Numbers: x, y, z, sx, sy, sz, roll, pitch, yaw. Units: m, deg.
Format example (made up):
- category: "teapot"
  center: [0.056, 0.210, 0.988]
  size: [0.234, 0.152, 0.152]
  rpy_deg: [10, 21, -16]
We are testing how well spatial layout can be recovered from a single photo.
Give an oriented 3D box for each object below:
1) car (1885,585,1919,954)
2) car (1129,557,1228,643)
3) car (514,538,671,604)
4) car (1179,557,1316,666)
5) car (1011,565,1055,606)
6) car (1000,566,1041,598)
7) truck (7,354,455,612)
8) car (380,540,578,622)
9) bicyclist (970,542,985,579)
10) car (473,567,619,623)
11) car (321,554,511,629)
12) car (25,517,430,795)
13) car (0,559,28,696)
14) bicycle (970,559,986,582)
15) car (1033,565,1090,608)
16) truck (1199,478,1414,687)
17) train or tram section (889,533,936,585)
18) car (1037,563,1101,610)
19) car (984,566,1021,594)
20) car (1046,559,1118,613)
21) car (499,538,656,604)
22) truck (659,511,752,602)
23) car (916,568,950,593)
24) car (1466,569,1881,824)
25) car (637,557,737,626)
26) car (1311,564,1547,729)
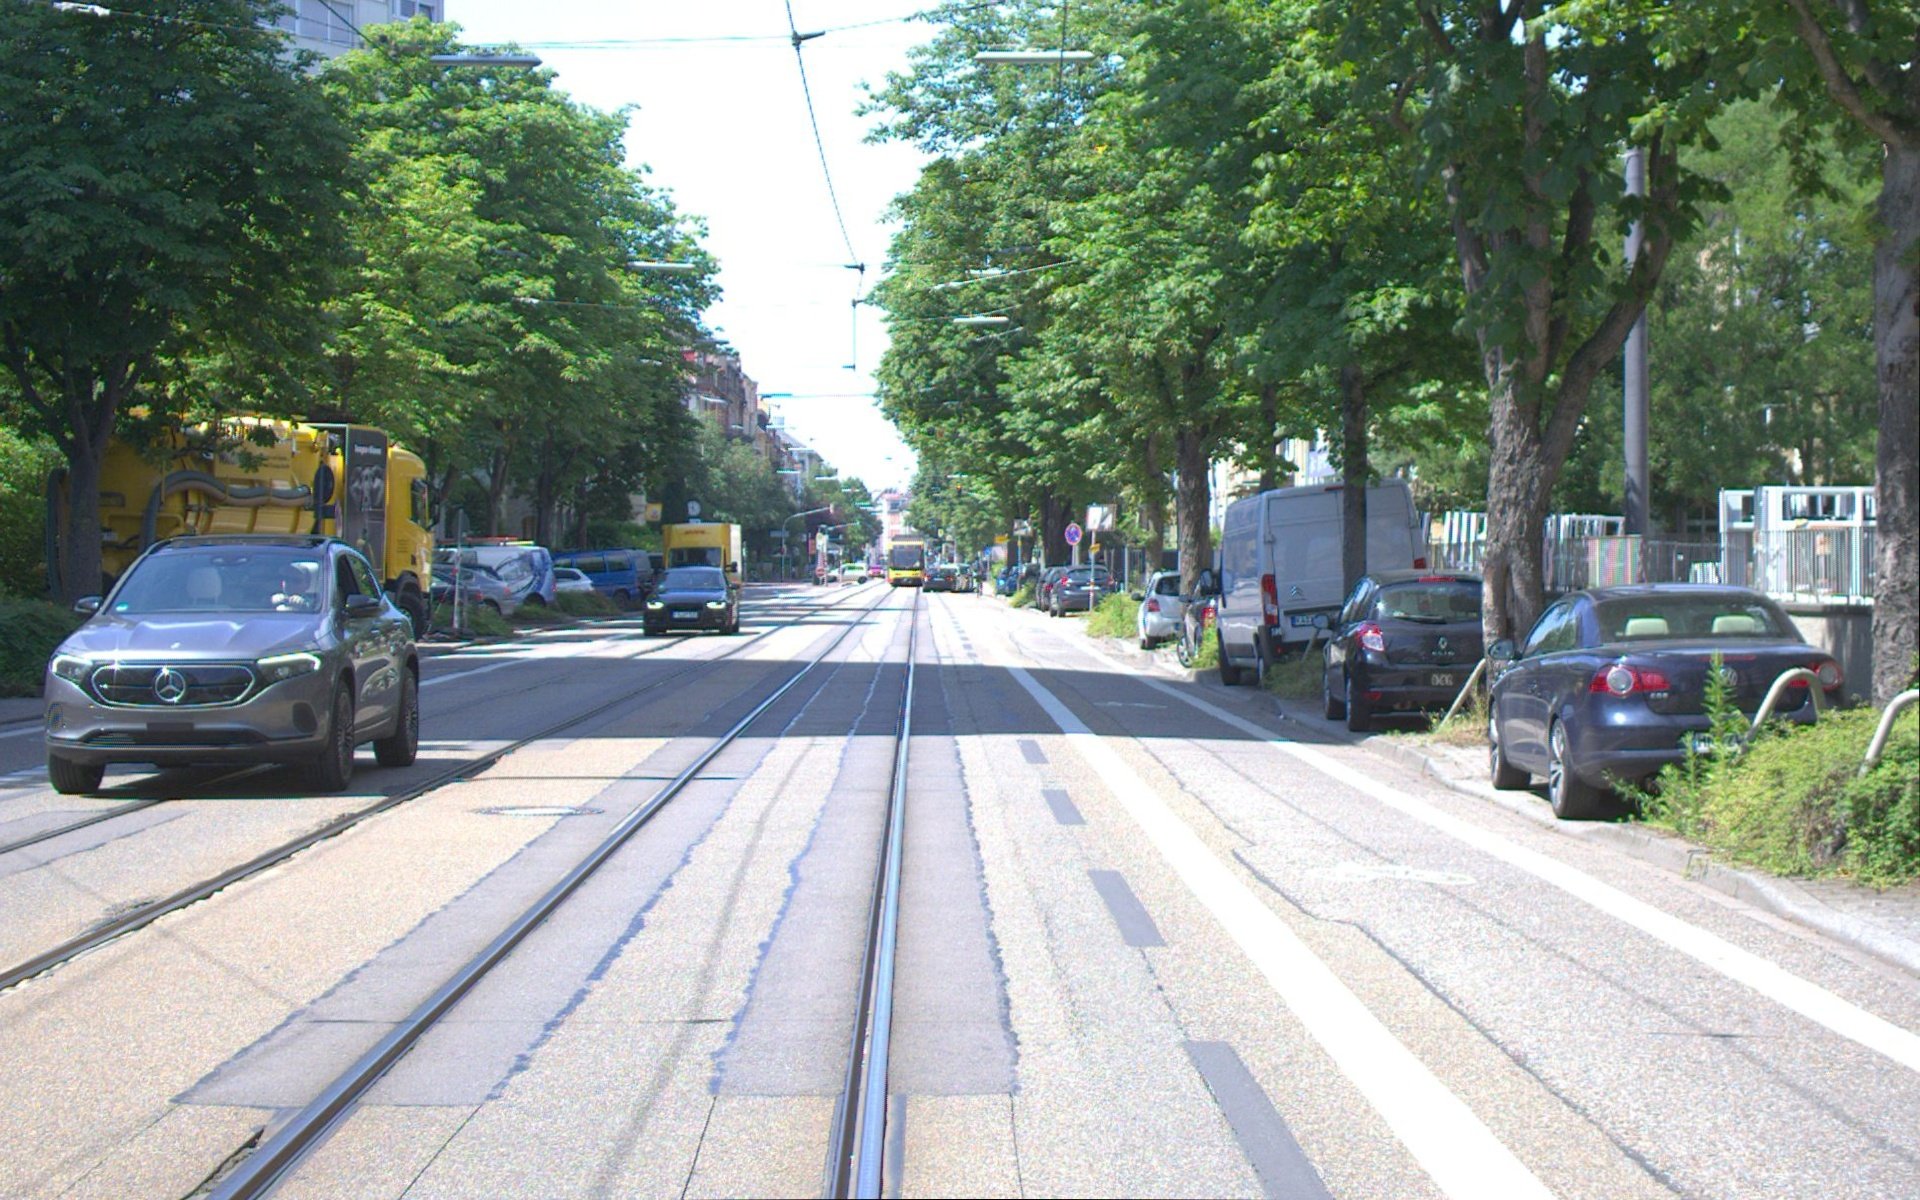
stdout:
- category: "car"
  center: [4.610, 0.688, 11.822]
  size: [1.671, 1.433, 4.042]
  rpy_deg: [0, 1, -2]
- category: "car"
  center: [4.030, -0.026, 63.751]
  size: [1.644, 1.529, 3.785]
  rpy_deg: [0, 1, 1]
- category: "car"
  center: [-12.028, -0.967, 112.695]
  size: [4.748, 2.055, 2.026]
  rpy_deg: [-2, 1, -39]
- category: "car"
  center: [4.228, 0.140, 51.025]
  size: [1.644, 1.529, 3.947]
  rpy_deg: [0, 1, -1]
- category: "car"
  center: [2.932, -0.584, 138.397]
  size: [1.592, 1.611, 3.908]
  rpy_deg: [-1, 0, -1]
- category: "car"
  center: [2.761, -0.834, 157.631]
  size: [1.710, 1.418, 4.310]
  rpy_deg: [-1, 0, -1]
- category: "truck"
  center: [-11.765, -1.755, 57.008]
  size: [2.717, 3.828, 10.957]
  rpy_deg: [2, 0, 14]
- category: "car"
  center: [-12.079, -0.492, 86.562]
  size: [1.920, 1.928, 4.745]
  rpy_deg: [-1, 0, 42]
- category: "bicyclist"
  center: [0.780, -1.773, 155.134]
  size: [0.622, 1.610, 0.865]
  rpy_deg: [1, -1, -2]
- category: "car"
  center: [-12.010, -0.155, 99.949]
  size: [1.761, 1.428, 3.990]
  rpy_deg: [-3, 0, 42]
- category: "car"
  center: [-11.591, -0.187, 73.380]
  size: [1.761, 1.502, 3.700]
  rpy_deg: [-1, 1, 43]
- category: "car"
  center: [-4.754, 0.305, 22.888]
  size: [1.831, 1.675, 4.185]
  rpy_deg: [0, 1, 0]
- category: "car"
  center: [-11.810, 0.238, 34.406]
  size: [4.434, 1.390, 1.772]
  rpy_deg: [1, 1, -39]
- category: "bicycle"
  center: [0.794, -1.329, 155.056]
  size: [0.639, 0.966, 1.781]
  rpy_deg: [2, -1, -2]
- category: "car"
  center: [3.435, -0.443, 116.397]
  size: [1.710, 1.418, 4.244]
  rpy_deg: [-1, 0, -1]
- category: "truck"
  center: [4.328, -0.255, 43.833]
  size: [2.014, 2.480, 5.956]
  rpy_deg: [0, 1, -1]
- category: "train or tram section"
  center: [-3.176, -2.757, 232.773]
  size: [3.035, 3.427, 11.970]
  rpy_deg: [0, 1, 0]
- category: "car"
  center: [3.463, -0.441, 109.649]
  size: [1.876, 1.450, 4.528]
  rpy_deg: [-1, 0, 0]
- category: "car"
  center: [2.162, -1.014, 175.978]
  size: [1.710, 1.418, 4.310]
  rpy_deg: [-1, 0, -1]
- category: "car"
  center: [3.441, -0.402, 97.218]
  size: [1.639, 1.480, 3.873]
  rpy_deg: [-1, 0, -4]
- category: "car"
  center: [-11.828, -0.912, 106.508]
  size: [1.846, 1.949, 4.719]
  rpy_deg: [-1, 1, 44]
- category: "truck"
  center: [-8.308, -1.435, 112.946]
  size: [2.360, 2.843, 7.378]
  rpy_deg: [-1, 1, 1]
- category: "car"
  center: [-1.441, -1.062, 183.640]
  size: [1.781, 1.341, 3.416]
  rpy_deg: [0, 1, 0]
- category: "car"
  center: [4.531, 0.547, 22.493]
  size: [1.824, 1.466, 4.486]
  rpy_deg: [0, 1, 1]
- category: "car"
  center: [-5.664, -0.198, 71.769]
  size: [1.774, 1.392, 4.287]
  rpy_deg: [0, 1, 0]
- category: "car"
  center: [4.475, 0.396, 33.389]
  size: [1.824, 1.466, 4.400]
  rpy_deg: [0, 1, 2]
